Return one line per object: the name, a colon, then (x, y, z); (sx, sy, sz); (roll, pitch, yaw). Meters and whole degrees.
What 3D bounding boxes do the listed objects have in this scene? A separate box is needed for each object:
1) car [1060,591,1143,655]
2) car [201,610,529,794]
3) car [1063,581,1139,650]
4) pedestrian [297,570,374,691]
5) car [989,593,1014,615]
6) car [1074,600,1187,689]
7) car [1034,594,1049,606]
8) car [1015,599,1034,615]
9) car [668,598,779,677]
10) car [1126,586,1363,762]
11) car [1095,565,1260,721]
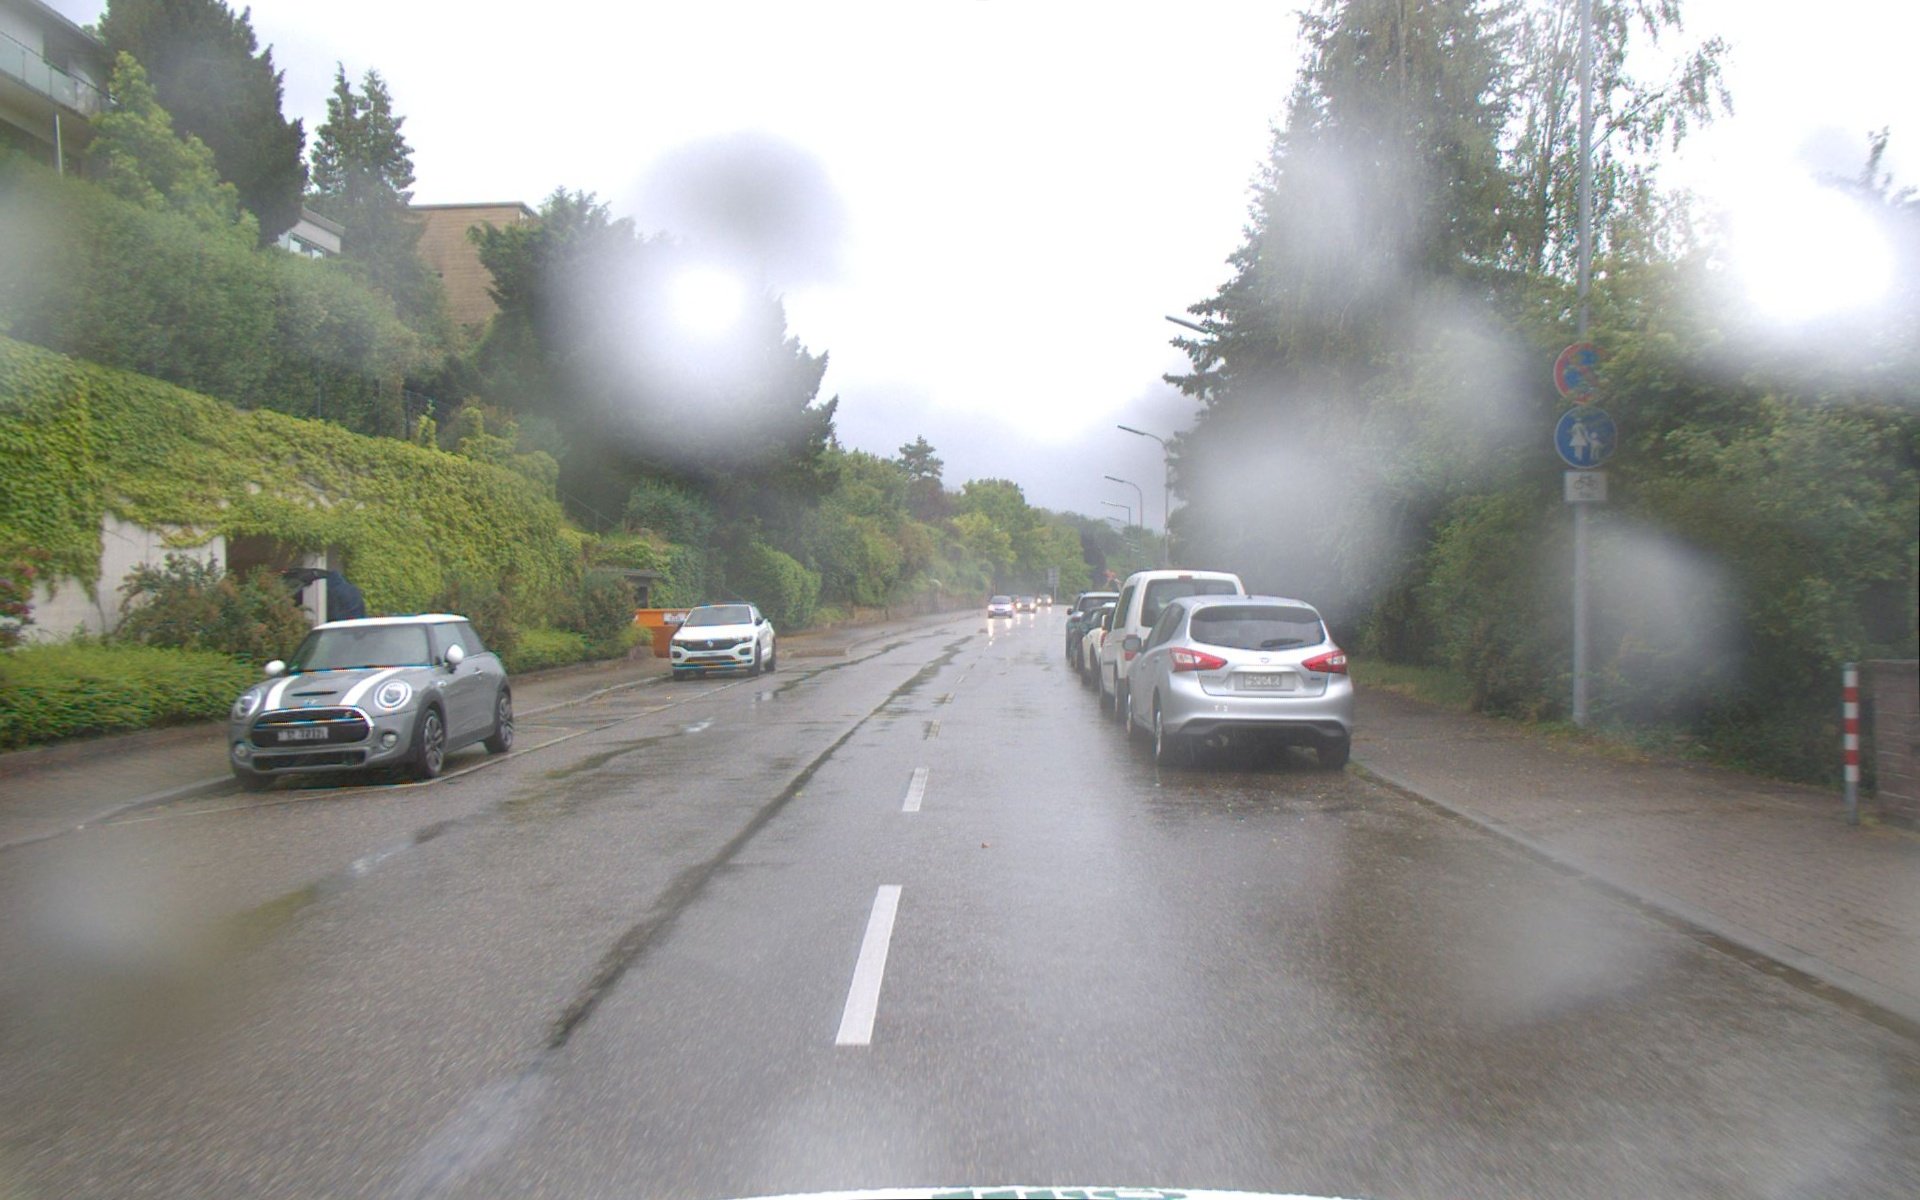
car: (3.032, 0.486, 36.020); (1.597, 1.304, 4.448); (0, -1, 2)
car: (-5.393, 0.850, 15.512); (1.720, 1.427, 3.769); (-3, 0, -1)
car: (3.597, 0.397, 42.795); (1.777, 1.674, 4.396); (0, -1, 2)
pedestrian: (-10.090, 0.486, 26.741); (0.825, 1.913, 0.902); (1, -1, 3)
car: (2.893, 0.302, 114.981); (1.628, 1.487, 3.662); (0, -1, 0)
car: (2.883, 0.735, 28.653); (1.673, 1.428, 4.204); (0, -1, 2)
car: (10.020, 0.010, 203.094); (1.723, 1.522, 4.129); (0, -1, 3)
car: (5.610, 0.626, 143.111); (1.620, 1.375, 3.988); (0, -1, 2)
car: (-4.876, 0.759, 34.595); (1.720, 1.524, 4.219); (-1, -1, 0)
car: (2.643, 0.651, 16.272); (1.752, 1.485, 4.309); (0, -1, 2)
car: (2.753, 0.530, 21.729); (1.747, 1.822, 4.362); (0, -1, 2)
